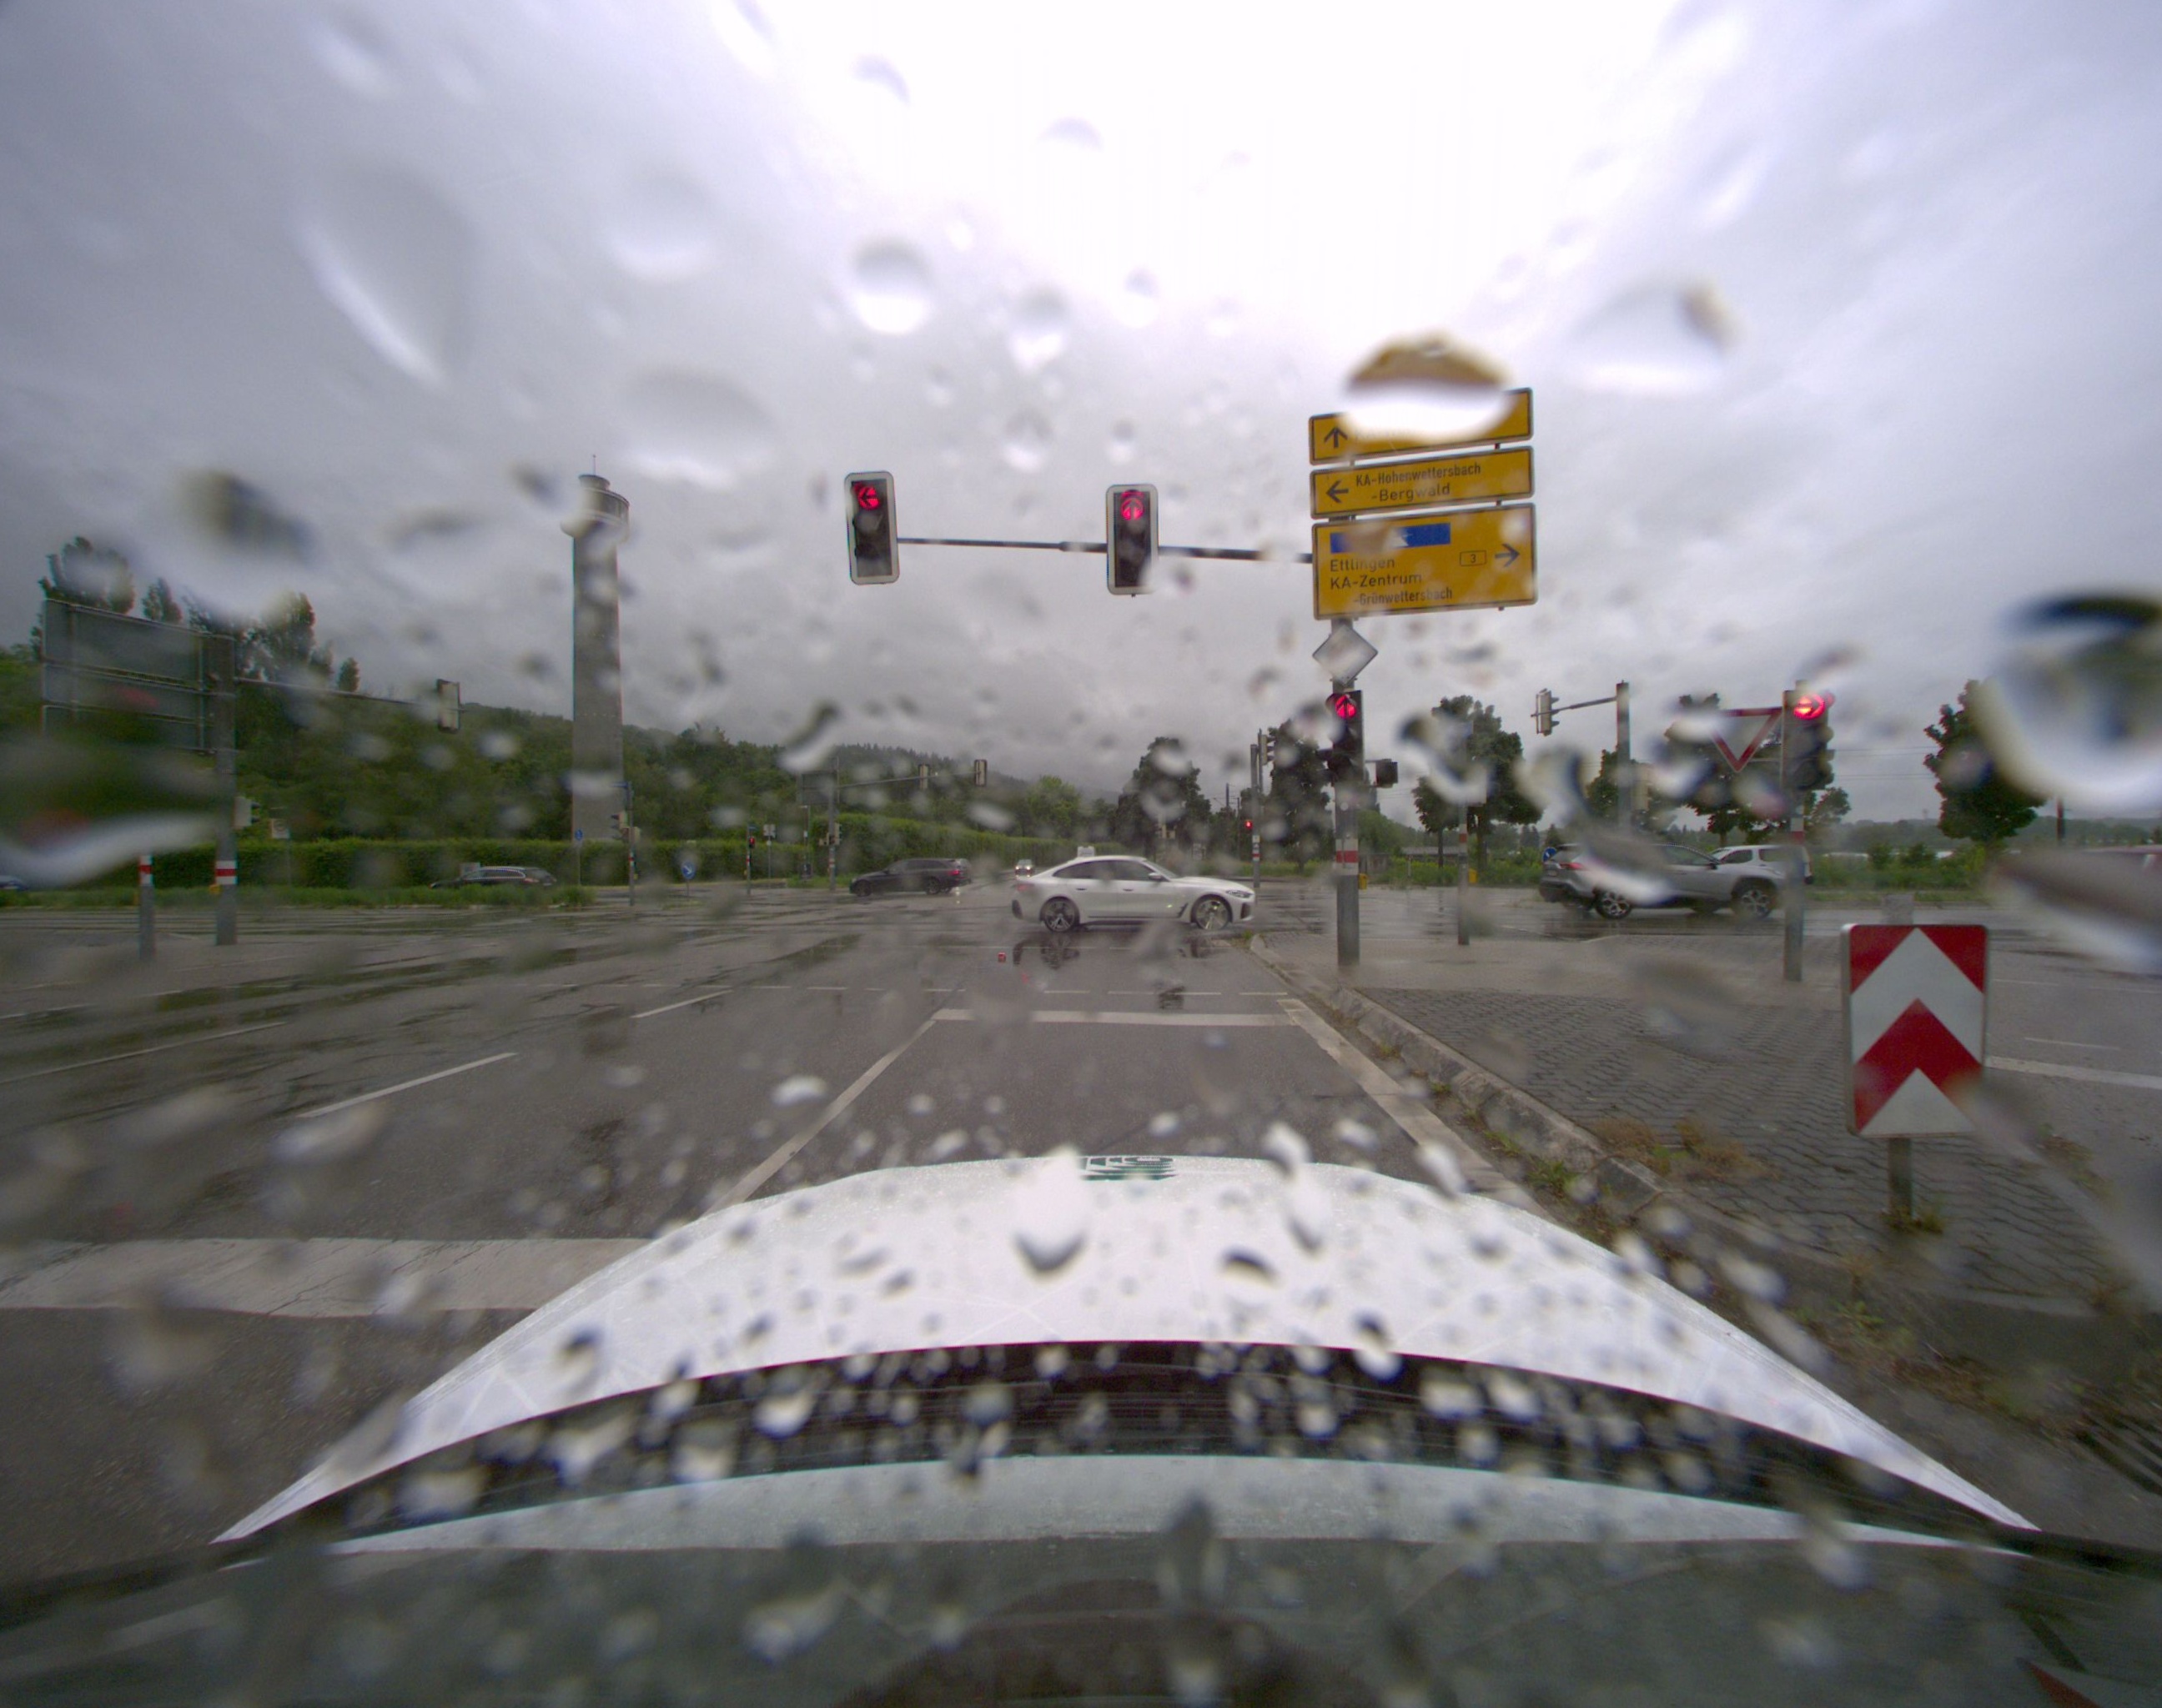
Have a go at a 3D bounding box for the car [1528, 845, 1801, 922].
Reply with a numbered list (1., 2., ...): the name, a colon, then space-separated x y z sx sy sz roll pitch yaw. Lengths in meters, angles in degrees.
1. car: 12.514 0.585 17.748 4.502 1.579 1.916 0 0 7

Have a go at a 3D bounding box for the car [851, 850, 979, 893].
1. car: -6.580 0.685 32.626 4.648 1.553 1.825 -1 0 4

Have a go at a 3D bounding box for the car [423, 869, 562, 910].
1. car: -24.824 1.484 34.458 4.647 1.553 1.825 -1 0 5

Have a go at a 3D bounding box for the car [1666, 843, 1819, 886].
1. car: 25.938 0.415 32.082 4.303 1.553 1.829 -1 0 14

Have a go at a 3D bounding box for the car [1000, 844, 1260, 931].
1. car: 1.012 0.639 16.122 4.852 1.553 1.804 -1 0 9

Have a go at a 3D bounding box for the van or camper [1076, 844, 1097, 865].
1. van or camper: 0.635 0.016 89.758 2.145 2.169 4.867 -1 0 2

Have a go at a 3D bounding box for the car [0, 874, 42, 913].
1. car: -45.819 1.666 32.961 4.665 1.553 1.818 -1 0 -7

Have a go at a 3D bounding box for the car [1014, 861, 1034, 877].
1. car: -5.482 1.426 78.554 1.552 1.481 3.362 -1 0 2

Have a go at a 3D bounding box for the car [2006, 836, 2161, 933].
1. car: 19.067 0.468 13.825 4.348 1.579 1.737 -1 0 9
